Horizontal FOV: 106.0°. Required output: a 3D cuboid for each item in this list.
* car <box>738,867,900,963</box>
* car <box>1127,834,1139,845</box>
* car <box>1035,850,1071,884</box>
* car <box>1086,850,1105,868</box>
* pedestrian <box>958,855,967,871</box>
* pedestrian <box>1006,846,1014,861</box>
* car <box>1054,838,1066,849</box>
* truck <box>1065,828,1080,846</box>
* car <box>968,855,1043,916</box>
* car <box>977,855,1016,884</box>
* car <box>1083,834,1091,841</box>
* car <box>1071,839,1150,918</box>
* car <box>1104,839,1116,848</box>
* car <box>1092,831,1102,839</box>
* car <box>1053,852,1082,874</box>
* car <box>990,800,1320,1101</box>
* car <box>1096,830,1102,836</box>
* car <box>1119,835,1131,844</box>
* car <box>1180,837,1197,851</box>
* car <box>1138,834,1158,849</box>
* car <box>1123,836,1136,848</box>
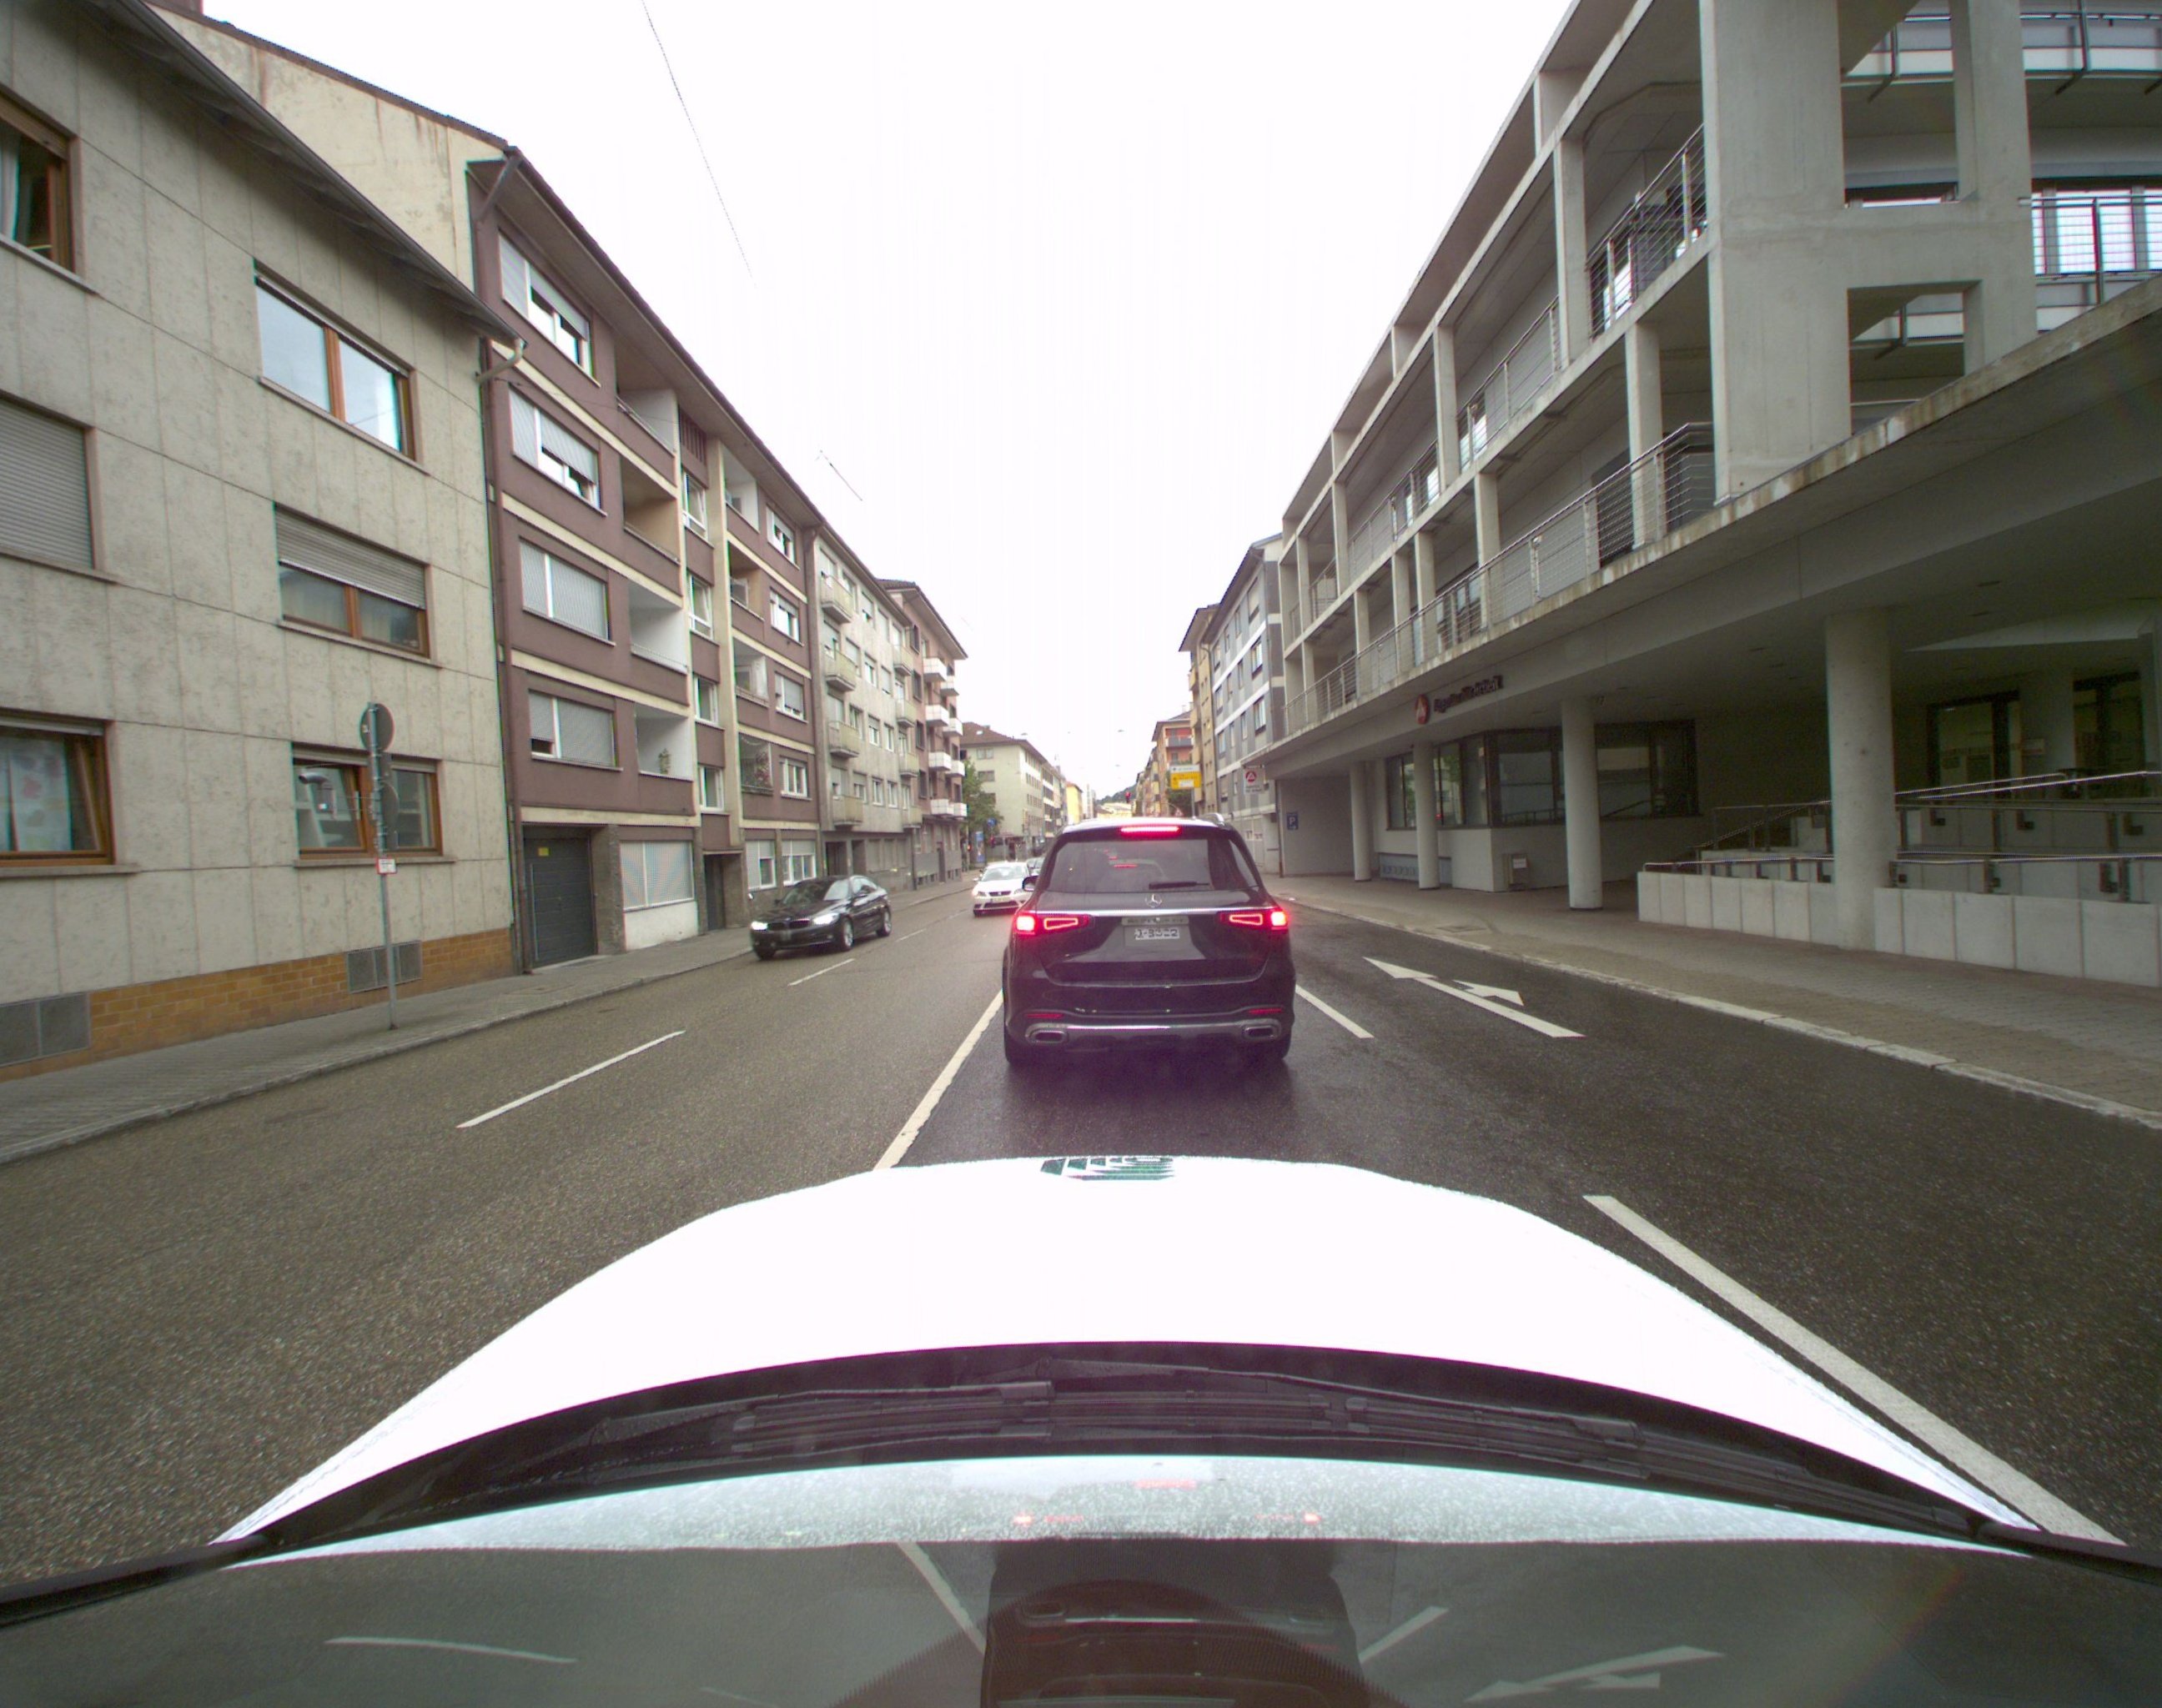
[{"bbox_3d":[-5.325,1.156,17.233,1.689,1.539,4.438,-7,-1,2],"label":"car"},{"bbox_3d":[8.640,-2.391,135.091,1.613,1.539,4.216,-4,-1,0],"label":"car"},{"bbox_3d":[-1.427,0.677,42.852,1.613,1.539,4.216,-4,-1,0],"label":"car"},{"bbox_3d":[1.358,0.502,77.975,1.689,1.580,4.218,-5,-1,1],"label":"car"},{"bbox_3d":[-13.116,1.024,90.136,0.641,1.764,0.764,-3,0,-39],"label":"pedestrian"},{"bbox_3d":[-8.932,-0.047,102.381,0.920,1.902,0.706,-3,0,0],"label":"pedestrian"},{"bbox_3d":[-3.384,-1.703,131.929,1.613,1.539,4.216,-4,-1,0],"label":"car"},{"bbox_3d":[-1.596,-3.167,157.353,2.472,3.046,9.917,-4,-1,0],"label":"truck"},{"bbox_3d":[-2.194,0.892,24.654,1.738,1.539,4.053,-5,-1,1],"label":"car"},{"bbox_3d":[-4.968,0.889,48.328,1.717,1.473,4.374,-5,0,0],"label":"car"},{"bbox_3d":[1.457,-3.945,193.952,1.613,1.539,4.216,-4,-1,0],"label":"car"},{"bbox_3d":[0.670,0.587,20.940,1.746,1.731,4.216,-3,-1,0],"label":"car"},{"bbox_3d":[5.144,-1.807,145.596,1.986,1.488,4.002,-4,0,2],"label":"car"},{"bbox_3d":[3.316,-3.894,168.469,1.879,1.264,4.216,-5,-1,0],"label":"car"},{"bbox_3d":[-0.916,0.648,57.263,1.688,1.370,4.220,-5,-1,2],"label":"car"},{"bbox_3d":[0.513,0.602,7.119,1.977,1.805,4.391,0,-1,2],"label":"car"},{"bbox_3d":[5.552,-6.365,250.543,1.613,1.539,4.216,-4,-1,0],"label":"car"},{"bbox_3d":[8.310,-2.756,153.624,1.879,1.372,4.216,-5,-1,0],"label":"car"},{"bbox_3d":[12.481,-1.162,94.520,1.664,1.588,3.334,-3,0,4],"label":"car"},{"bbox_3d":[6.917,-1.277,84.204,1.613,1.387,4.216,-4,-1,0],"label":"car"},{"bbox_3d":[7.103,-1.734,119.209,1.613,1.539,4.216,-4,-1,0],"label":"car"}]
